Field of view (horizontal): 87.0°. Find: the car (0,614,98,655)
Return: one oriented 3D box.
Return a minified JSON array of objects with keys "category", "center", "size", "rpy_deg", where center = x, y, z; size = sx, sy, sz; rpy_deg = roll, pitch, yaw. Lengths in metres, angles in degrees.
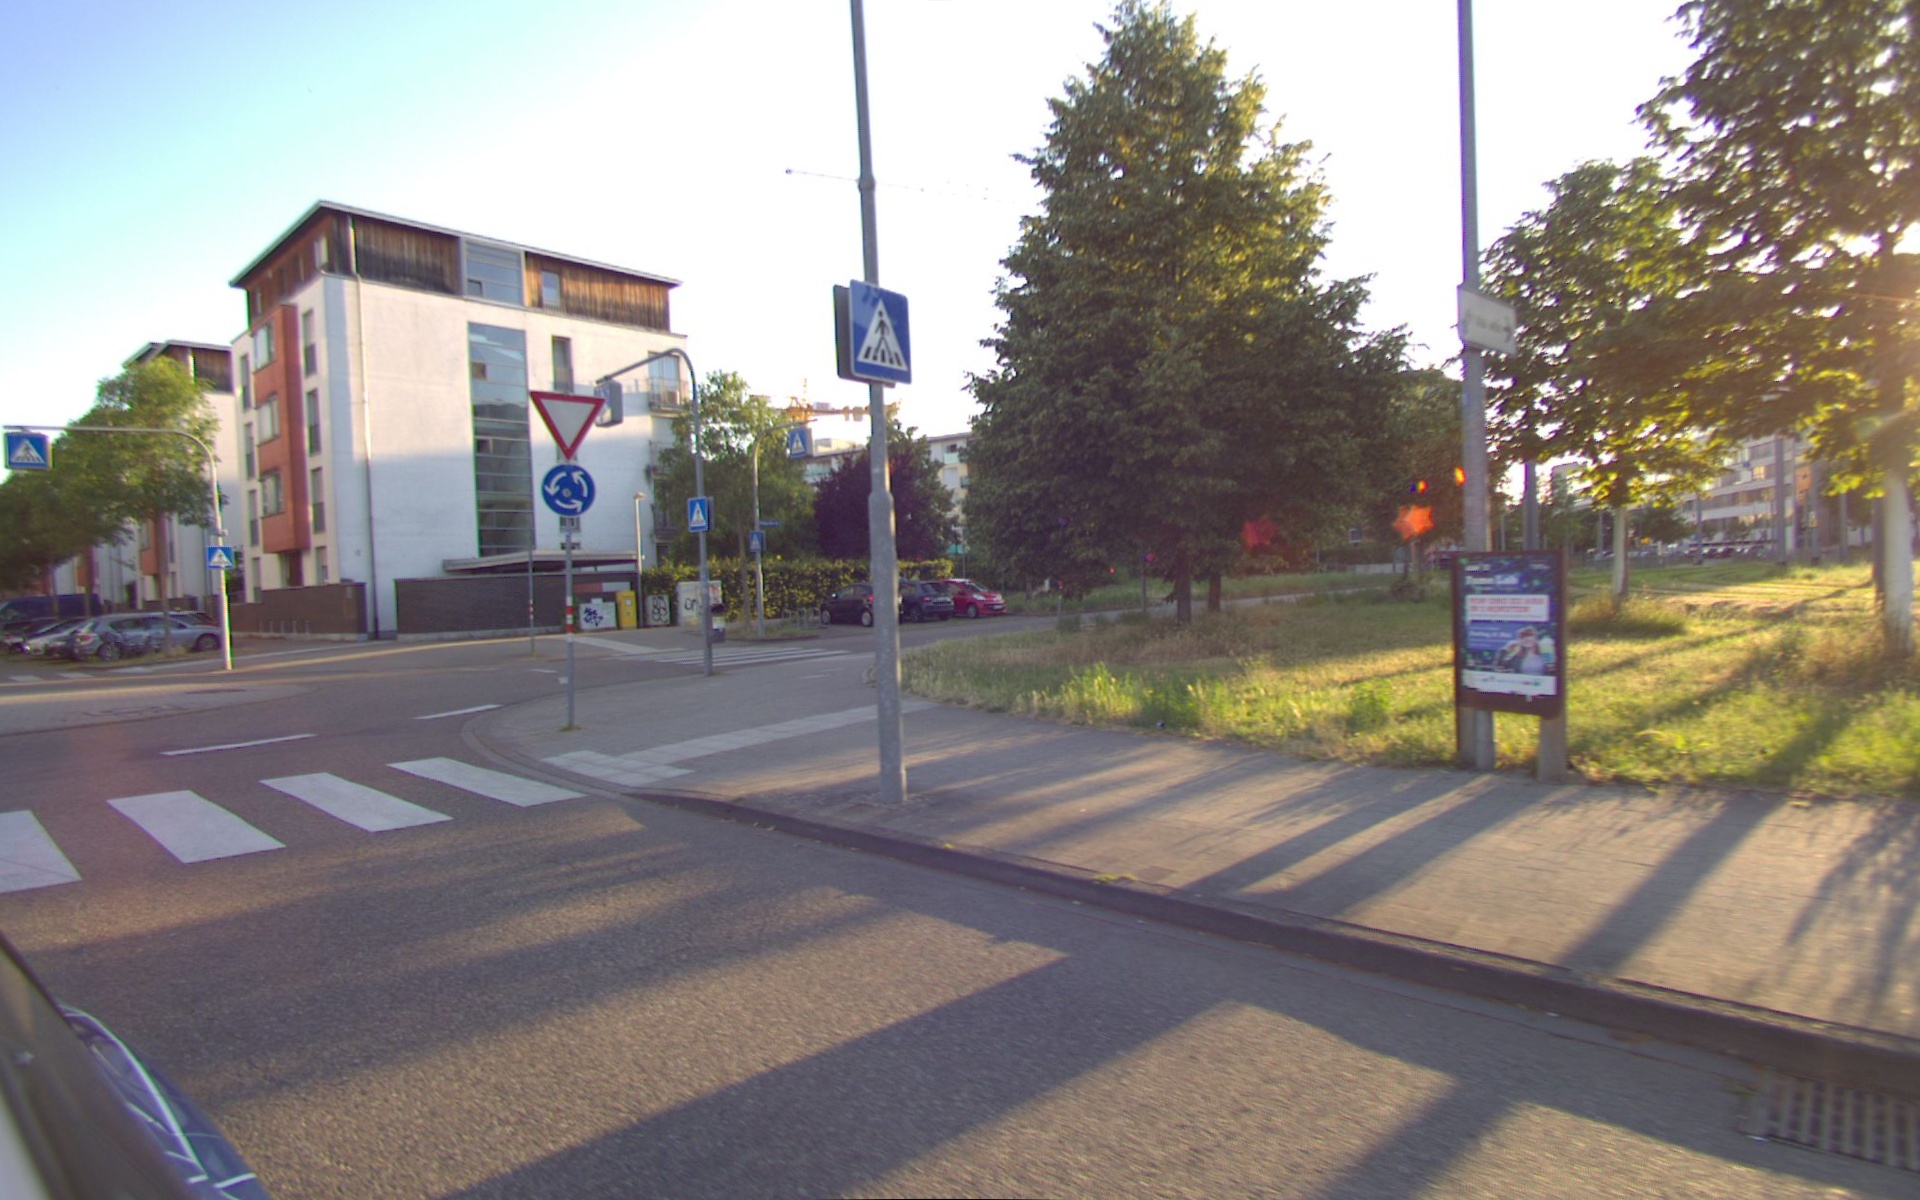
[{"category":"car","center":[-43.757,1.647,48.006],"size":[1.722,1.637,4.053],"rpy_deg":[-2,1,38]}]

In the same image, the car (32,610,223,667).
[{"category":"car","center":[-28.956,1.296,35.332],"size":[1.709,1.489,4.854],"rpy_deg":[-3,2,40]}]

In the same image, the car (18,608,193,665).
[{"category":"car","center":[-31.210,1.303,37.063],"size":[4.719,1.566,1.712],"rpy_deg":[-6,2,-44]}]

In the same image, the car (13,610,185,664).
[{"category":"car","center":[-32.893,1.378,38.783],"size":[1.756,1.596,4.702],"rpy_deg":[-3,2,38]}]

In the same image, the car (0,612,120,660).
[{"category":"car","center":[-38.620,1.524,43.212],"size":[1.722,1.723,3.872],"rpy_deg":[-2,1,38]}]

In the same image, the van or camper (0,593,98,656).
[{"category":"van or camper","center":[-50.141,1.351,53.707],"size":[2.439,3.110,6.238],"rpy_deg":[-2,1,38]}]

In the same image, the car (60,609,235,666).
[{"category":"car","center":[-26.979,1.206,33.719],"size":[1.679,1.468,4.238],"rpy_deg":[-3,2,40]}]

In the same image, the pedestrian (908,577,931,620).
[{"category":"pedestrian","center":[-1.633,-0.084,41.093],"size":[0.620,1.679,0.738],"rpy_deg":[-2,2,22]}]

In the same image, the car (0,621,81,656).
[{"category":"car","center":[-46.242,1.901,49.990],"size":[1.722,1.638,4.051],"rpy_deg":[-2,-2,38]}]

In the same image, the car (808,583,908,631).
[{"category":"car","center":[-3.610,0.254,35.617],"size":[3.412,1.533,1.666],"rpy_deg":[-1,2,45]}]

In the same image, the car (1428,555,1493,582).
[{"category":"car","center":[36.395,-2.308,73.590],"size":[3.876,1.707,1.681],"rpy_deg":[-3,0,40]}]

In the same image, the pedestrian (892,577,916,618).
[{"category":"pedestrian","center":[-2.288,-0.102,41.313],"size":[0.652,1.611,0.708],"rpy_deg":[-3,2,20]}]

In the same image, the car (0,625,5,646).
[{"category":"car","center":[-84.355,3.103,86.246],"size":[1.693,1.800,4.193],"rpy_deg":[-3,-2,43]}]

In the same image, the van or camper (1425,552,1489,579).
[{"category":"van or camper","center":[37.306,-2.577,75.990],"size":[3.880,1.707,1.809],"rpy_deg":[-3,0,43]}]

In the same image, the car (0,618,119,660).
[{"category":"car","center":[-40.193,1.705,45.083],"size":[1.722,1.526,3.872],"rpy_deg":[-2,1,38]}]

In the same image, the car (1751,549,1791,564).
[{"category":"car","center":[105.191,-5.665,131.279],"size":[3.879,1.625,1.679],"rpy_deg":[-3,0,43]}]

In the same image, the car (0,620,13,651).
[{"category":"car","center":[-62.041,2.281,63.113],"size":[1.692,1.945,4.196],"rpy_deg":[-3,-2,41]}]

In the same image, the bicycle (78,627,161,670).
[{"category":"bicycle","center":[-25.661,1.468,30.912],"size":[0.566,1.074,1.799],"rpy_deg":[-3,3,40]}]

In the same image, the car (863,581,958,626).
[{"category":"car","center":[-1.842,0.139,37.075],"size":[3.412,1.511,1.572],"rpy_deg":[-1,2,45]}]

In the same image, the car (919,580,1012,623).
[{"category":"car","center":[0.191,0.060,38.710],"size":[3.412,1.511,1.572],"rpy_deg":[-1,2,45]}]
